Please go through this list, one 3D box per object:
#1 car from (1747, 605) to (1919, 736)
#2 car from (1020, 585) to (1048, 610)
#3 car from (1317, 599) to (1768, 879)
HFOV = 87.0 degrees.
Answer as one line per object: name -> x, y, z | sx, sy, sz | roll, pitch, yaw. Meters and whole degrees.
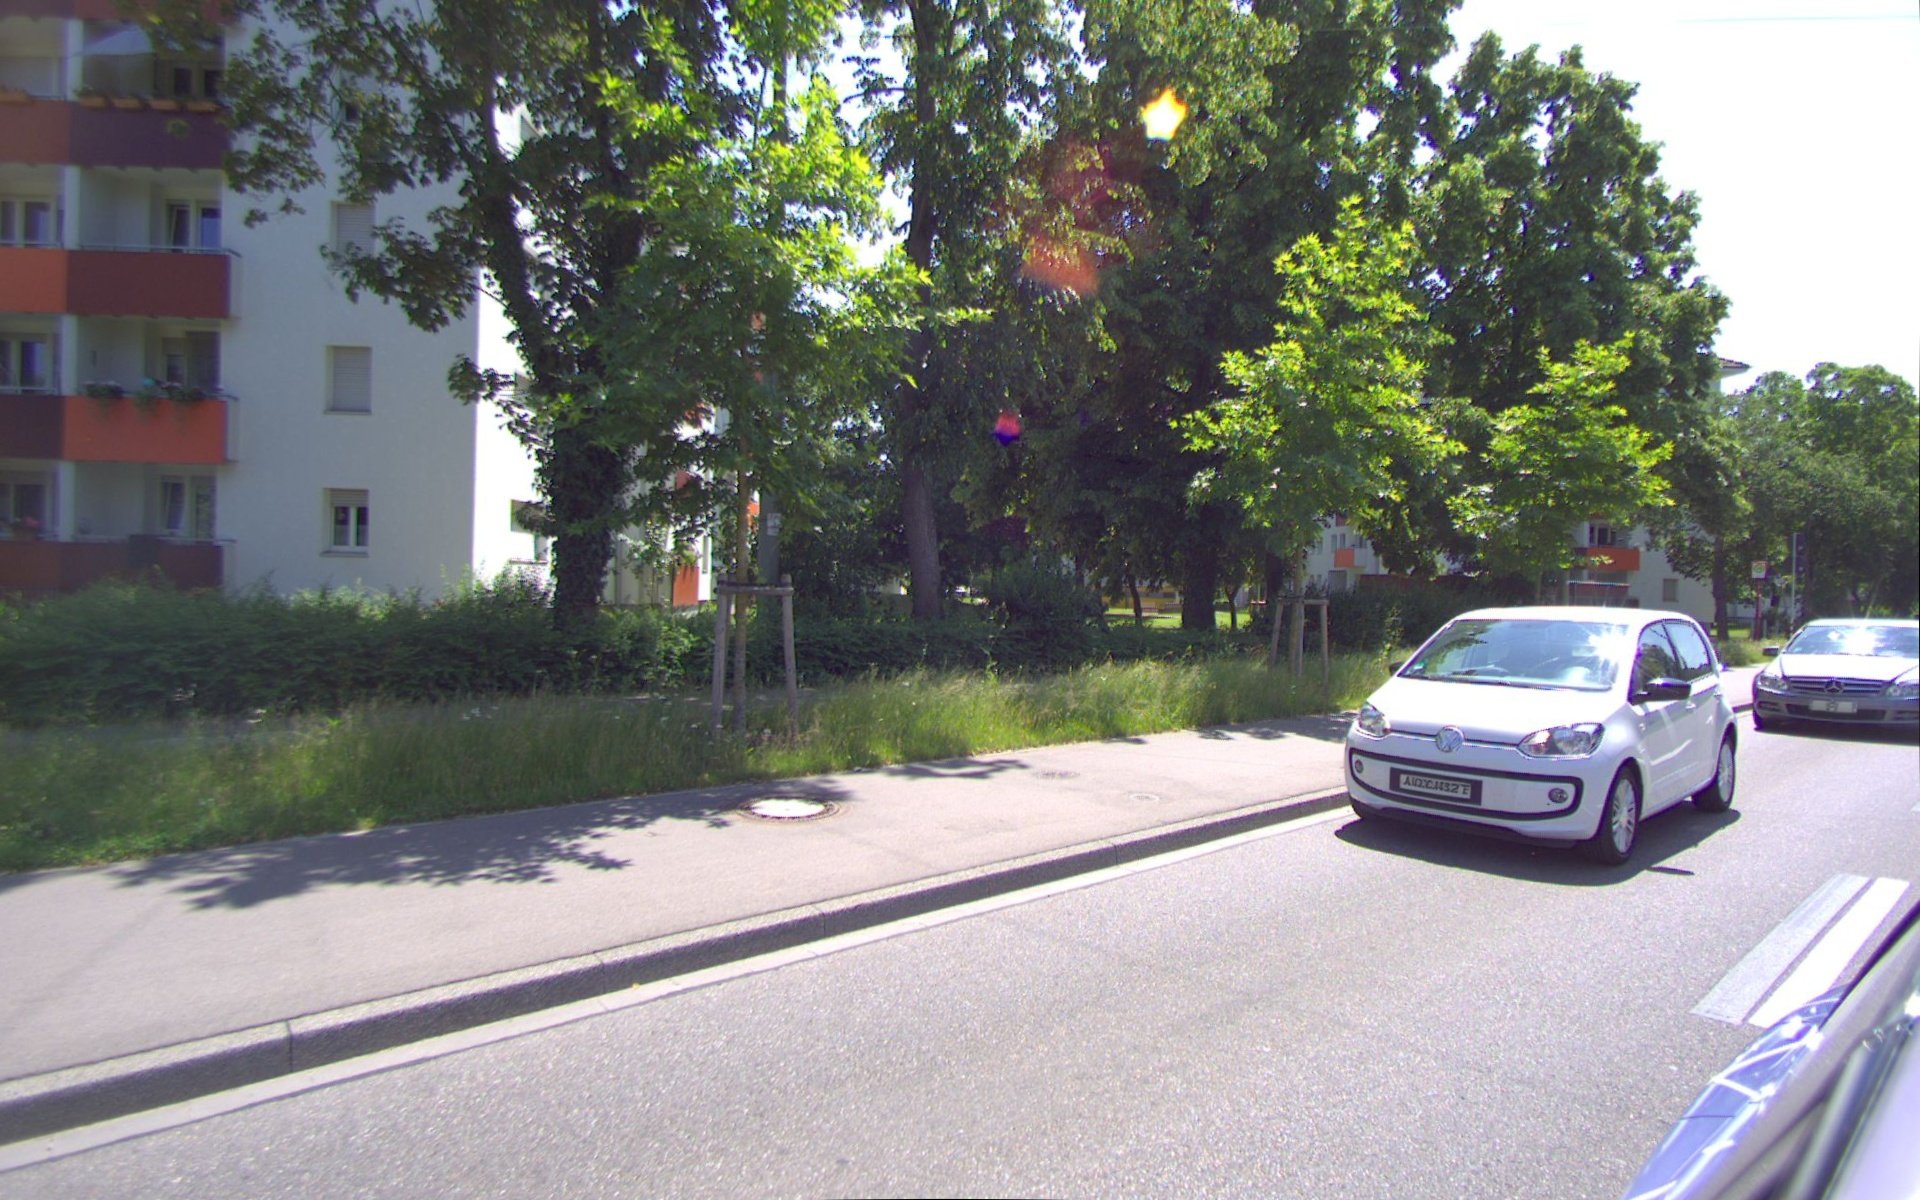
car -> 11.914, 0.830, 13.165 | 3.900, 1.478, 1.902 | 1, -1, -40
car -> 5.305, -0.175, 72.832 | 1.842, 1.746, 3.923 | 1, 1, 3
car -> 4.291, 0.743, 7.215 | 3.787, 1.468, 1.662 | 1, 0, -41
